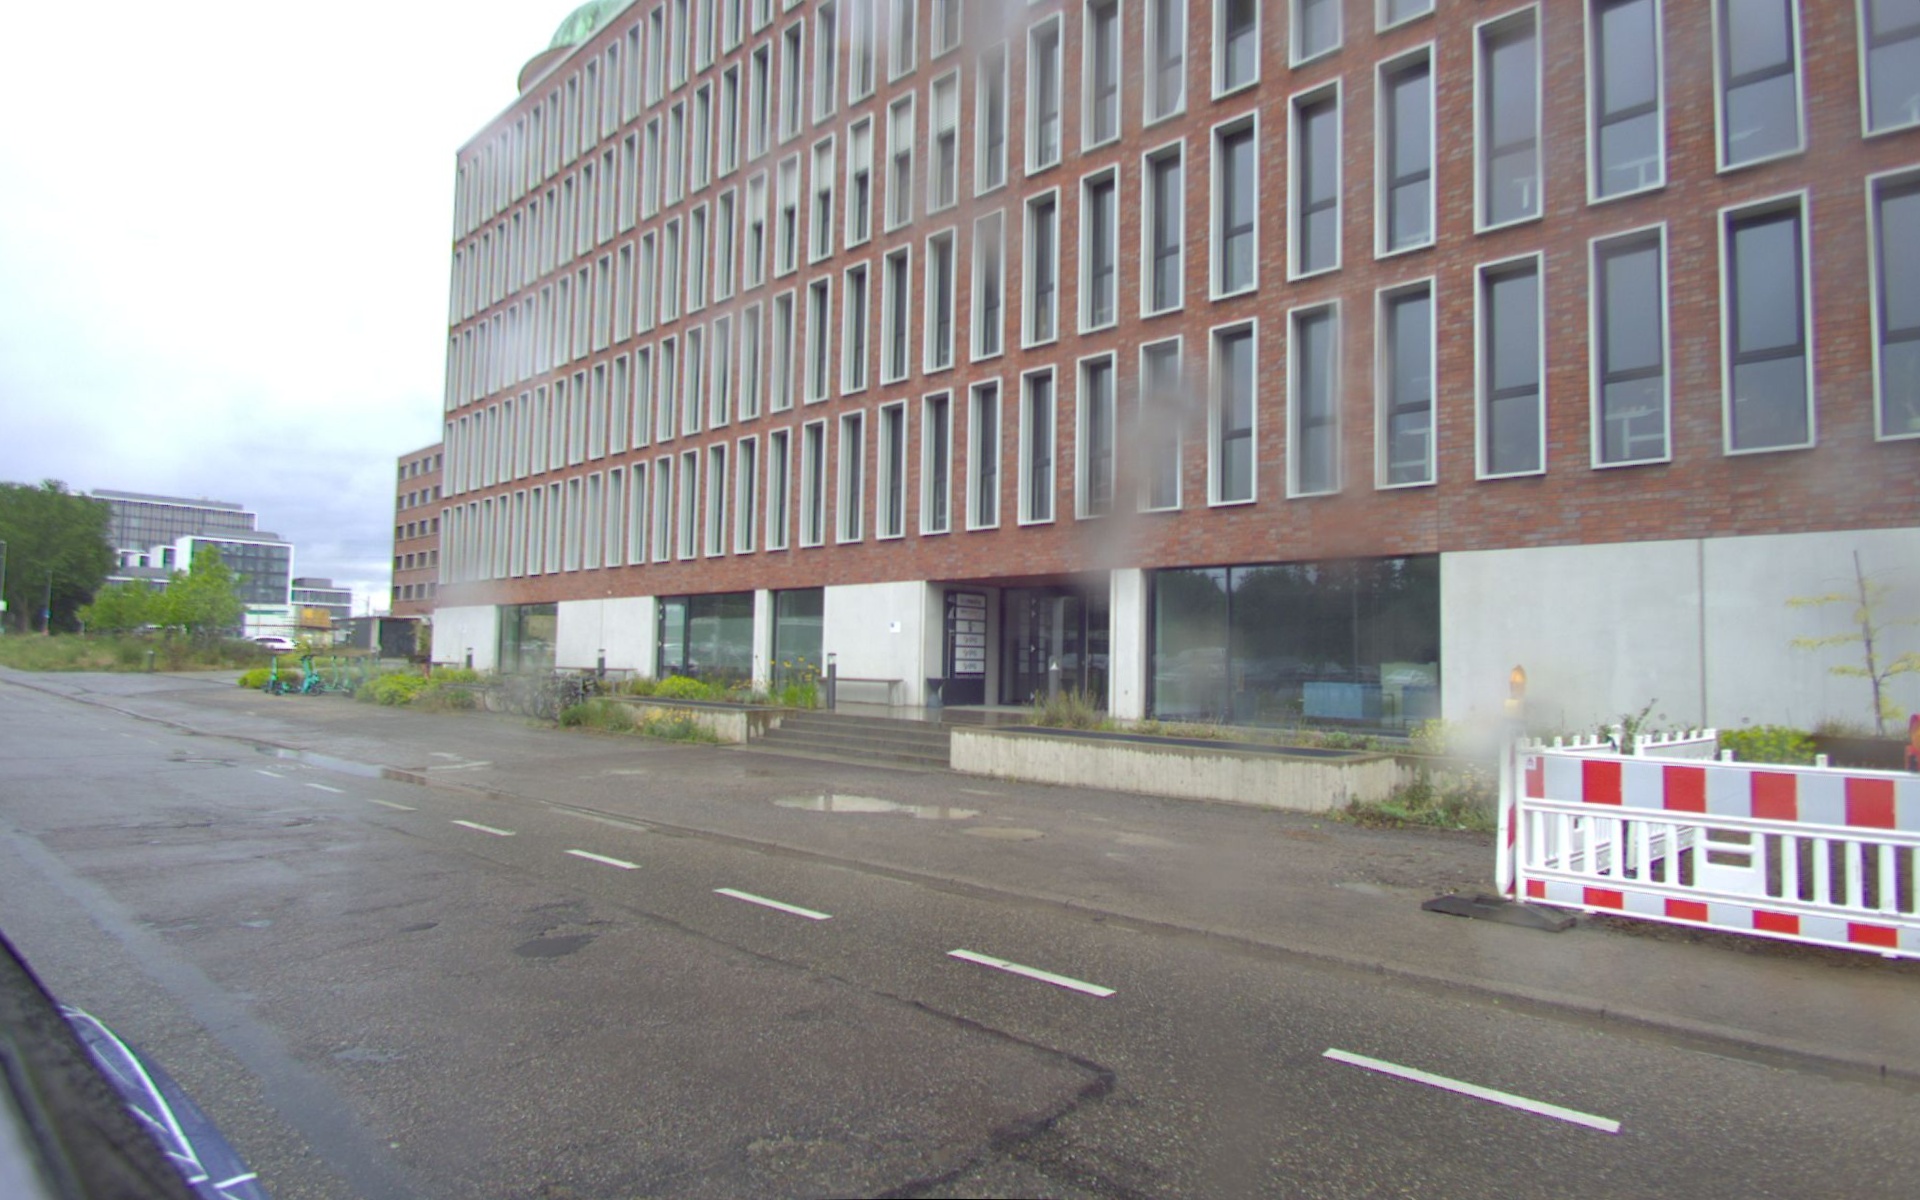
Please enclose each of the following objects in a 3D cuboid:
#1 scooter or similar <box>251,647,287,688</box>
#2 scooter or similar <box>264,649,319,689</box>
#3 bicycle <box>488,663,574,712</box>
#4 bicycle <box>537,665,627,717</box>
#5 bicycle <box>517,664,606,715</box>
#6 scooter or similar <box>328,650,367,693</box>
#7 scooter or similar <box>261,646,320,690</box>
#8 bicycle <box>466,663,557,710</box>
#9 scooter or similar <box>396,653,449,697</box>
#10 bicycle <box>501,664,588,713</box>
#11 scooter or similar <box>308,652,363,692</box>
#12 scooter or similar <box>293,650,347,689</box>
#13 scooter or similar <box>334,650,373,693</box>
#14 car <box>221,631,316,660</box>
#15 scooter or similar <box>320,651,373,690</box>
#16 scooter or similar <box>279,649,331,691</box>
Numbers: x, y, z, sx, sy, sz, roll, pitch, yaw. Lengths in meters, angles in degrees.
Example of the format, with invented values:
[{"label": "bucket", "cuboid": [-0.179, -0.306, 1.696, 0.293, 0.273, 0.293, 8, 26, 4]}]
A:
[{"label": "scooter or similar", "cuboid": [-21.574, 2.113, 31.581, 1.319, 1.239, 0.461, -1, -6, 38]}, {"label": "scooter or similar", "cuboid": [-21.515, 2.213, 32.570, 1.299, 1.239, 0.509, 3, -4, -11]}, {"label": "bicycle", "cuboid": [-10.193, 2.057, 24.104, 0.544, 1.085, 1.841, -1, -3, 39]}, {"label": "bicycle", "cuboid": [-8.402, 2.002, 22.538, 0.544, 1.085, 1.841, -1, -3, 39]}, {"label": "bicycle", "cuboid": [-9.086, 2.030, 23.152, 0.544, 1.085, 1.841, -1, -3, 39]}, {"label": "scooter or similar", "cuboid": [-18.359, 2.140, 30.361, 0.460, 1.239, 1.210, 2, -4, -7]}, {"label": "scooter or similar", "cuboid": [-19.734, 2.024, 29.869, 1.298, 1.239, 0.469, 4, -5, -20]}, {"label": "bicycle", "cuboid": [-10.918, 2.090, 24.704, 0.620, 1.085, 1.929, -1, -3, 39]}, {"label": "scooter or similar", "cuboid": [-15.685, 2.190, 29.544, 1.211, 1.217, 0.418, 6, -6, -42]}, {"label": "bicycle", "cuboid": [-9.704, 2.051, 23.698, 0.544, 1.085, 1.841, -1, -3, 39]}, {"label": "scooter or similar", "cuboid": [-19.139, 2.205, 31.016, 0.465, 1.186, 1.308, 0, -5, 28]}, {"label": "scooter or similar", "cuboid": [-20.413, 2.232, 32.294, 1.301, 1.186, 0.468, 6, -6, -44]}, {"label": "scooter or similar", "cuboid": [-17.865, 2.118, 29.816, 0.460, 1.217, 1.210, 2, -4, -7]}, {"label": "car", "cuboid": [-43.600, 2.875, 63.906, 1.997, 1.654, 4.478, -1, -4, 38]}, {"label": "scooter or similar", "cuboid": [-19.622, 2.261, 32.367, 1.301, 1.186, 0.468, 6, -6, -44]}, {"label": "scooter or similar", "cuboid": [-20.197, 2.170, 31.212, 1.307, 1.239, 0.465, 1, -4, 12]}]
